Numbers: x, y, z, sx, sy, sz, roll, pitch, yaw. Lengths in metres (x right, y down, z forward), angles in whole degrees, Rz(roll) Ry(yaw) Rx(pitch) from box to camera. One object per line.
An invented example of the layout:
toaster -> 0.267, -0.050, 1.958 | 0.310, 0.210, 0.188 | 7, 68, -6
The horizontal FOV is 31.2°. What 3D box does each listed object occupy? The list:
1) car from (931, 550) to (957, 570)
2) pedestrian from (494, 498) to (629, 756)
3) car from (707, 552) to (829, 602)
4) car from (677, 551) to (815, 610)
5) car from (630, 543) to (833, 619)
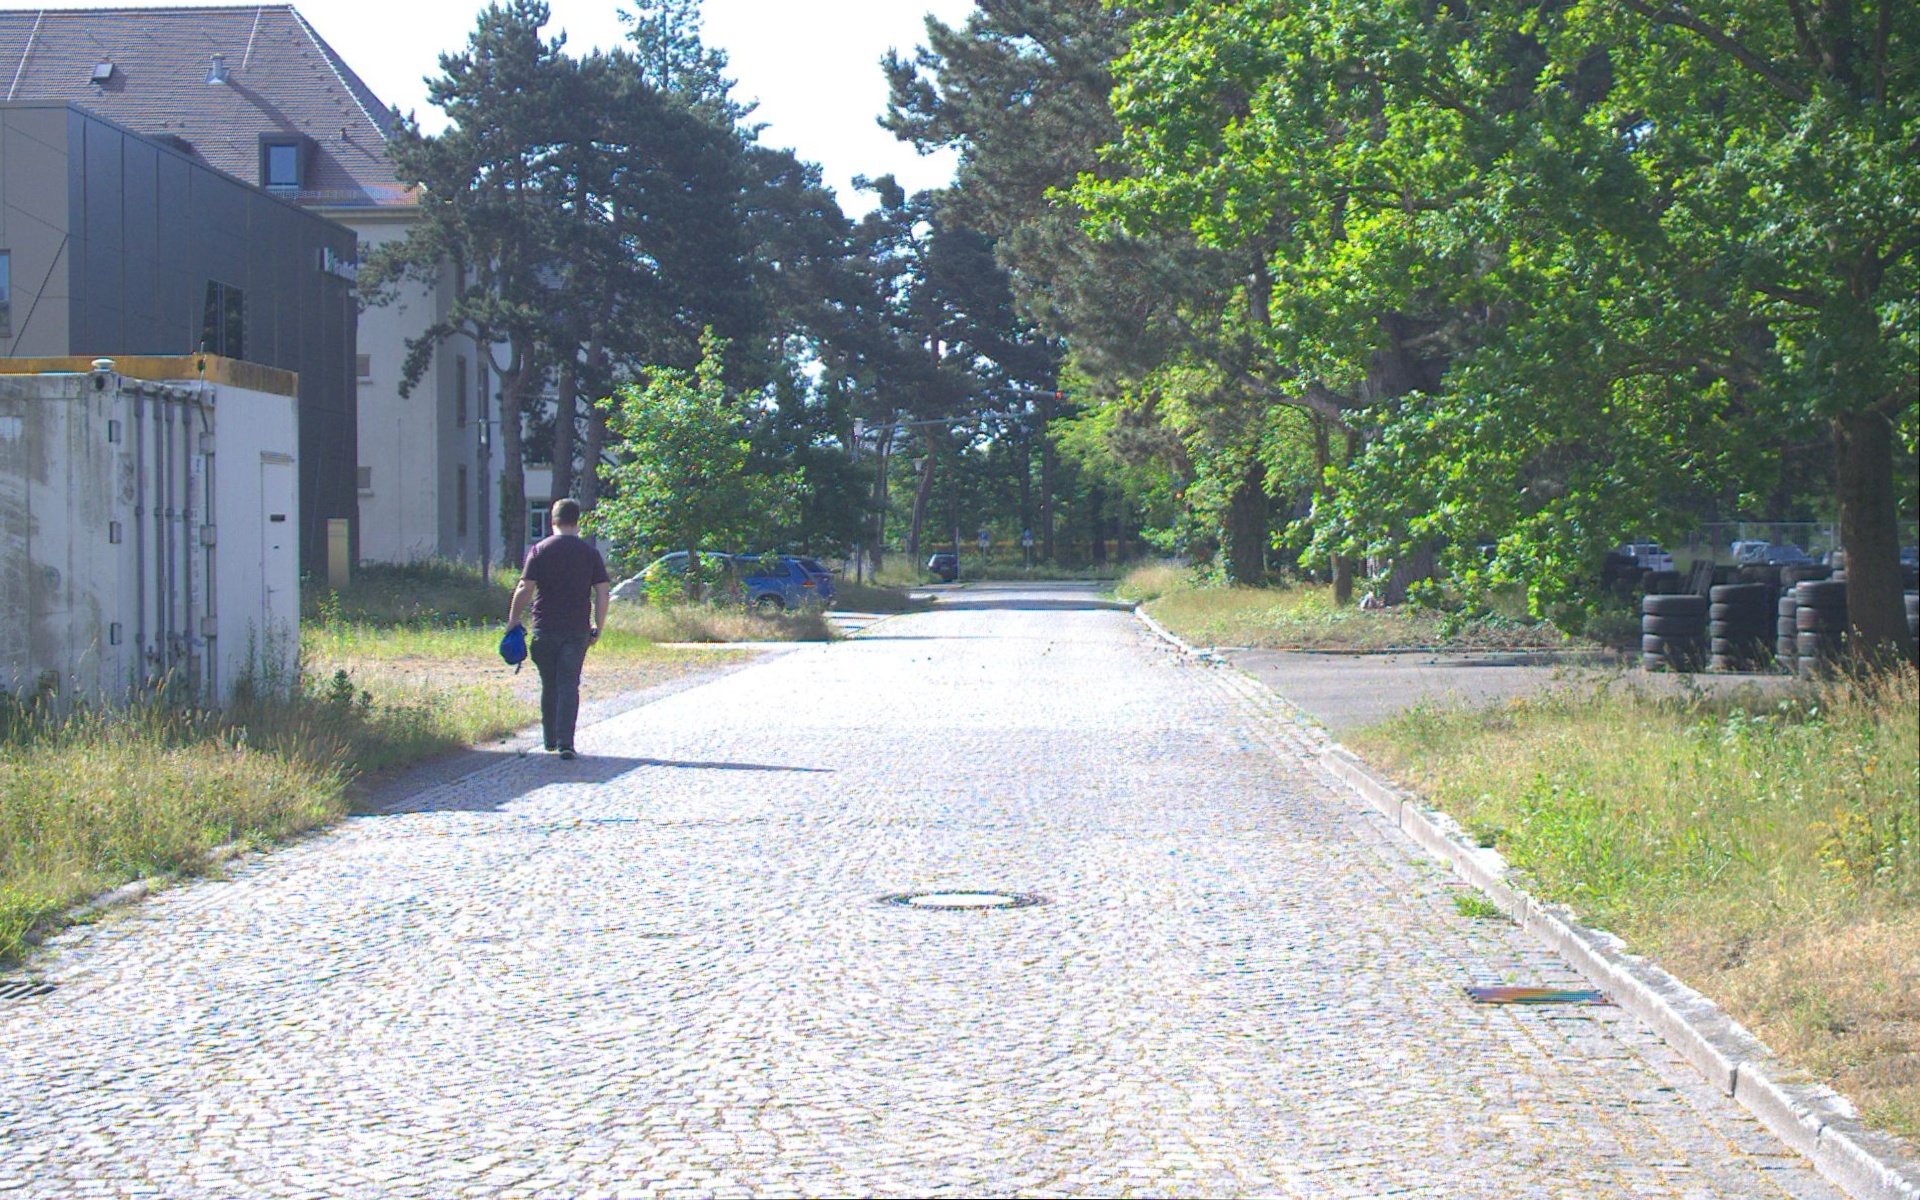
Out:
car -> -0.884, -2.205, 189.308 | 1.369, 1.095, 2.863 | 0, 1, -1
pedestrian -> -2.813, 0.179, 24.354 | 0.795, 1.774, 1.068 | 1, 1, 0
car -> -4.665, -0.563, 83.389 | 2.853, 1.202, 1.374 | 0, 1, -7
car -> -4.613, -0.424, 73.993 | 2.901, 1.255, 1.288 | 0, 1, -7
car -> -4.407, -0.375, 66.699 | 3.833, 1.436, 1.583 | 0, 1, 0
